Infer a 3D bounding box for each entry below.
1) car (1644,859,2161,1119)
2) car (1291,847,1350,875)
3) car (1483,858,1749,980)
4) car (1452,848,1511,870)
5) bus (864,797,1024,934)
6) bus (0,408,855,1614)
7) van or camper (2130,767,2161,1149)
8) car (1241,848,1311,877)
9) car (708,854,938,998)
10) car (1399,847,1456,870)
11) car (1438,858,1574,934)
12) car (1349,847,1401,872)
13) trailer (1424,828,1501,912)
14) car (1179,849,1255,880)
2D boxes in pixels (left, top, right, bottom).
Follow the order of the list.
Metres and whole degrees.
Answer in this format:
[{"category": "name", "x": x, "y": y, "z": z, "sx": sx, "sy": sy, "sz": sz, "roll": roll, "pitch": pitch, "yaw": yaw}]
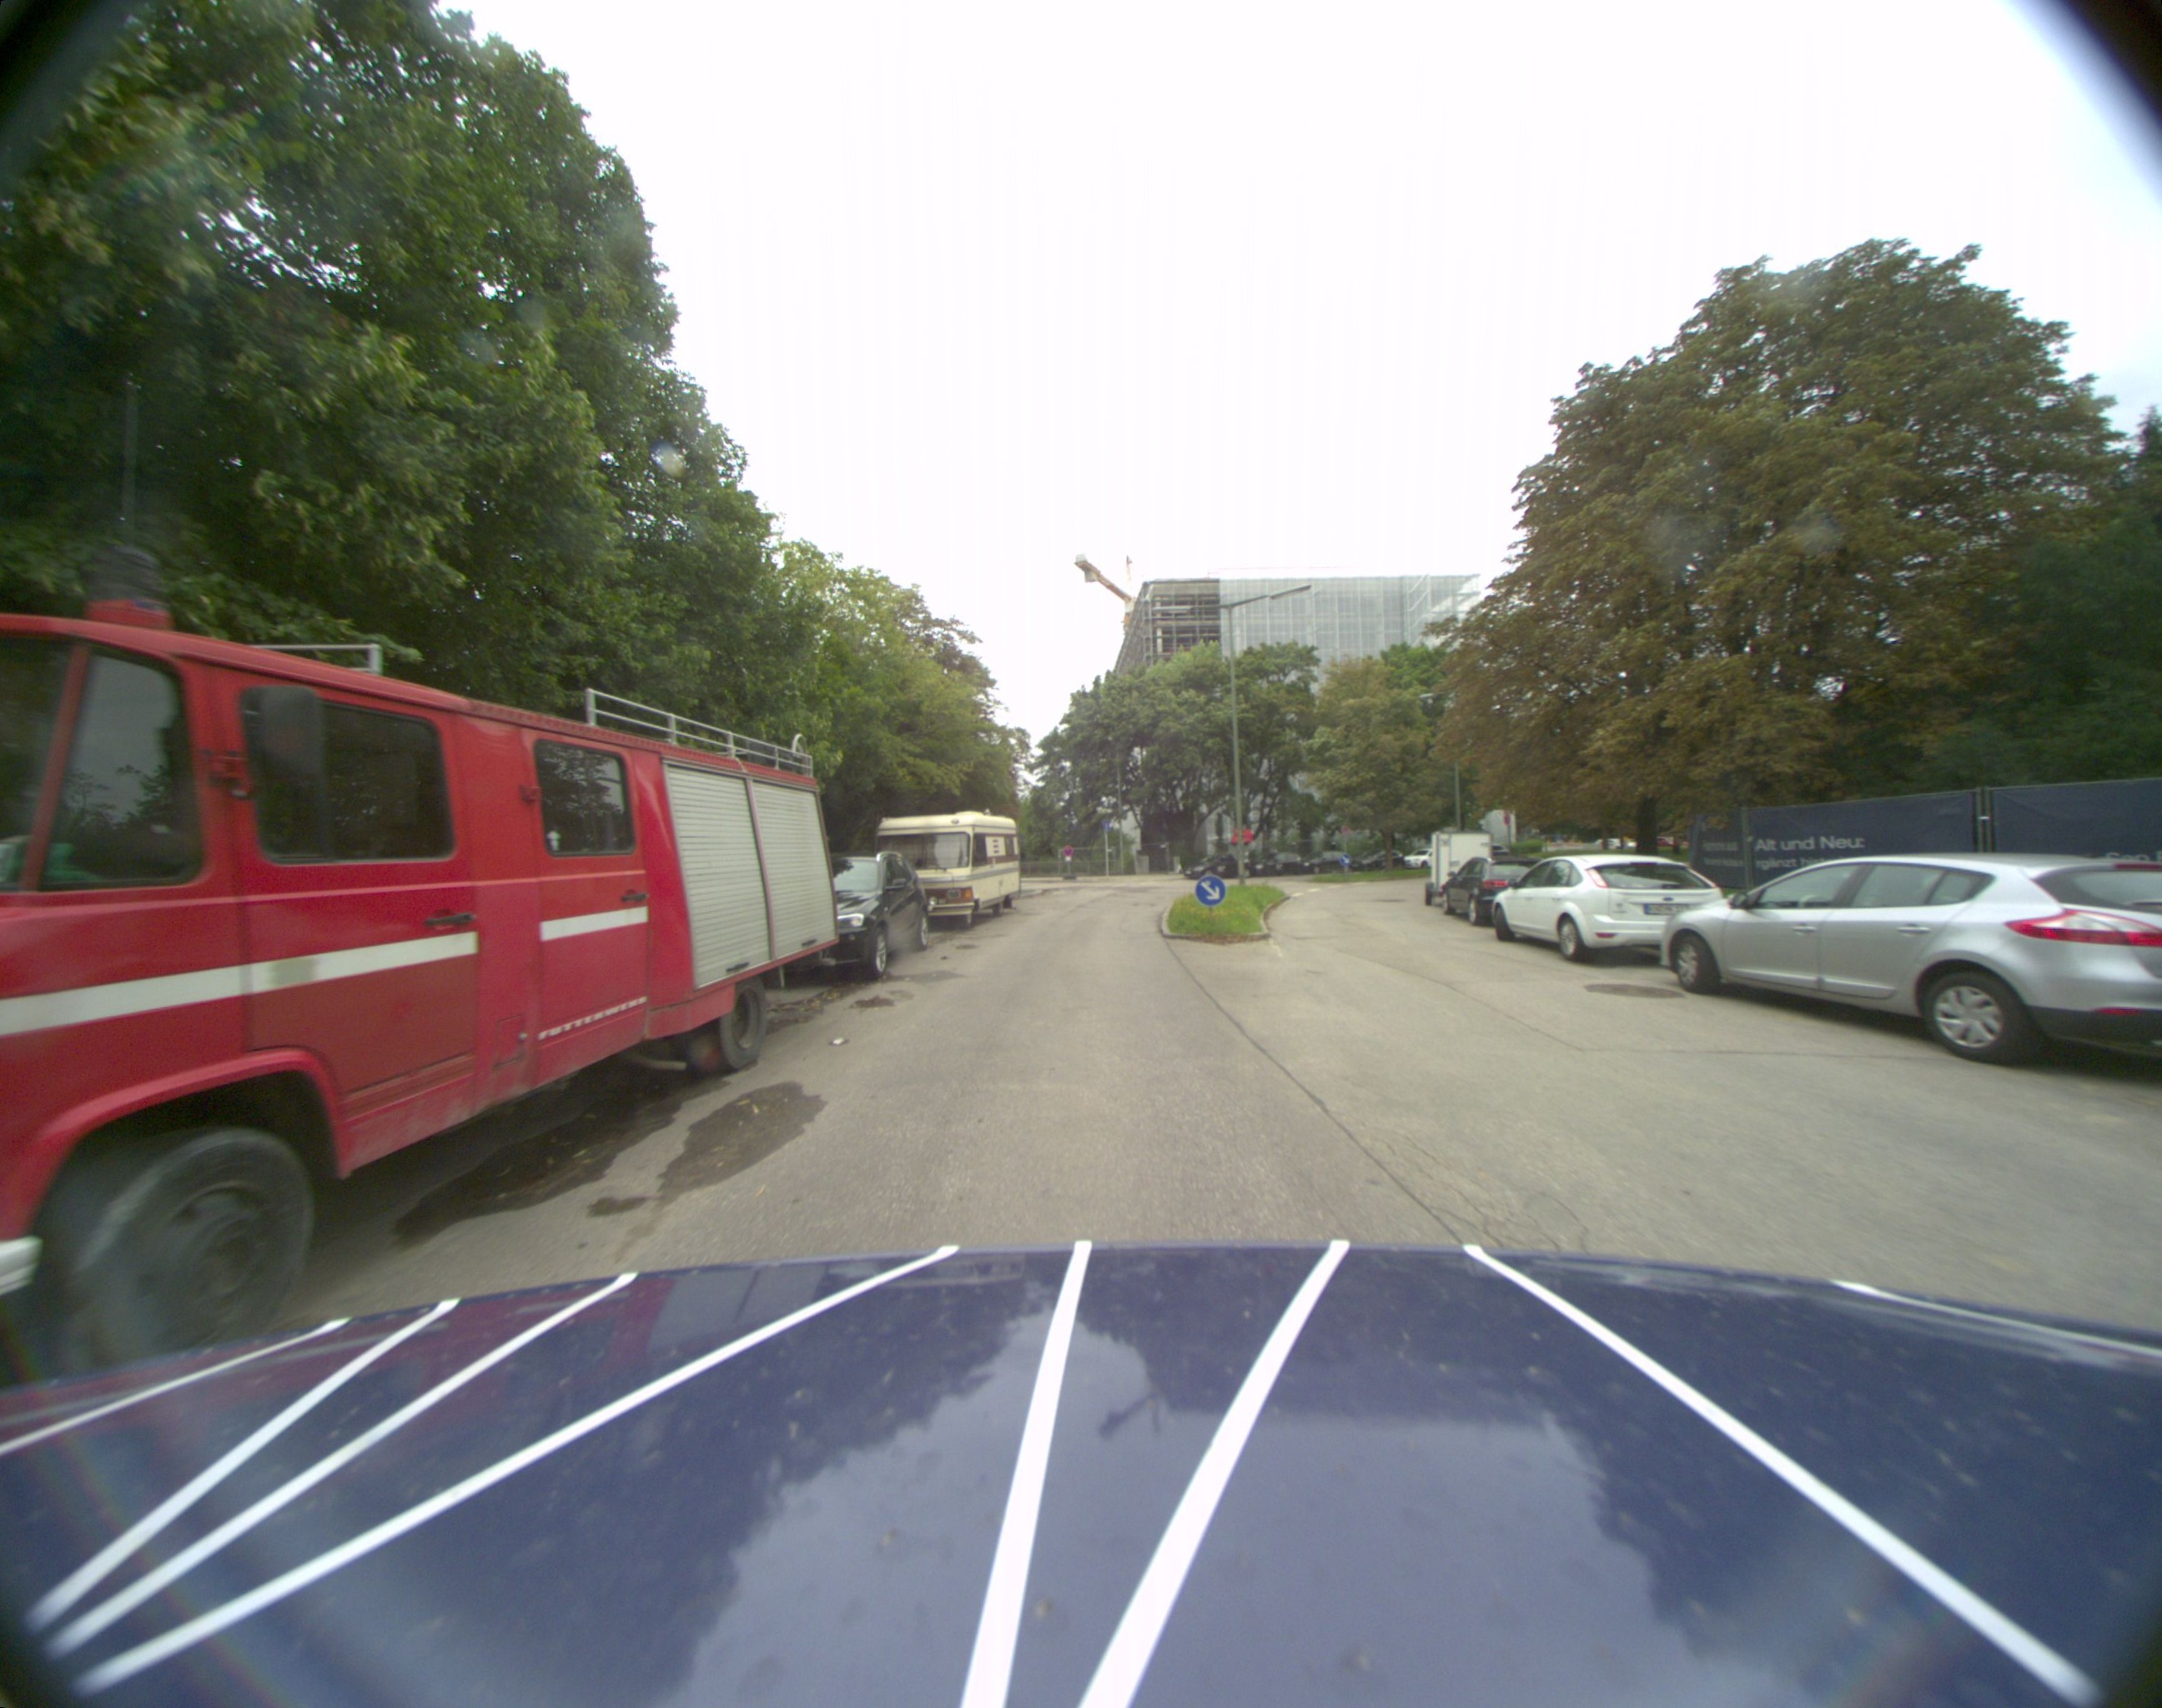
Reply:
[{"category": "car", "x": 7.163, "y": 0.801, "z": 6.395, "sx": 1.998, "sy": 1.450, "sz": 4.120, "roll": 0, "pitch": 0, "yaw": 4}, {"category": "car", "x": 14.988, "y": 0.402, "z": 47.523, "sx": 3.267, "sy": 1.564, "sz": 1.656, "roll": -2, "pitch": 2, "yaw": -24}, {"category": "car", "x": 7.713, "y": 0.815, "z": 11.482, "sx": 1.740, "sy": 1.450, "sz": 4.034, "roll": 0, "pitch": 0, "yaw": 10}, {"category": "car", "x": 28.357, "y": 0.333, "z": 53.780, "sx": 3.722, "sy": 1.379, "sz": 1.518, "roll": -2, "pitch": 2, "yaw": -17}, {"category": "bus", "x": -3.005, "y": 0.219, "z": 18.279, "sx": 2.077, "sy": 2.714, "sz": 5.869, "roll": -2, "pitch": 0, "yaw": 7}, {"category": "bus", "x": -3.438, "y": 0.358, "z": 4.363, "sx": 2.077, "sy": 2.789, "sz": 6.272, "roll": -2, "pitch": 0, "yaw": 2}, {"category": "van or camper", "x": 6.645, "y": 0.537, "z": 1.326, "sx": 1.994, "sy": 2.022, "sz": 5.587, "roll": 0, "pitch": 0, "yaw": 1}, {"category": "car", "x": 11.686, "y": 0.490, "z": 45.386, "sx": 3.892, "sy": 1.564, "sz": 1.785, "roll": -2, "pitch": 2, "yaw": -30}, {"category": "car", "x": -3.437, "y": 0.851, "z": 11.103, "sx": 1.783, "sy": 1.630, "sz": 4.397, "roll": -2, "pitch": 0, "yaw": 0}, {"category": "car", "x": 23.784, "y": 0.289, "z": 52.149, "sx": 3.724, "sy": 1.379, "sz": 1.517, "roll": -2, "pitch": 2, "yaw": -24}, {"category": "car", "x": 9.168, "y": 0.827, "z": 16.731, "sx": 1.692, "sy": 1.404, "sz": 3.799, "roll": 0, "pitch": 1, "yaw": 14}, {"category": "car", "x": 19.236, "y": 0.338, "z": 49.763, "sx": 2.916, "sy": 1.564, "sz": 1.517, "roll": -2, "pitch": 2, "yaw": -20}, {"category": "trailer", "x": 10.524, "y": 0.385, "z": 21.113, "sx": 1.779, "sy": 2.169, "sz": 2.781, "roll": 0, "pitch": 1, "yaw": 24}, {"category": "car", "x": 7.730, "y": 0.585, "z": 43.098, "sx": 3.891, "sy": 1.564, "sz": 1.786, "roll": -2, "pitch": 2, "yaw": -25}]
